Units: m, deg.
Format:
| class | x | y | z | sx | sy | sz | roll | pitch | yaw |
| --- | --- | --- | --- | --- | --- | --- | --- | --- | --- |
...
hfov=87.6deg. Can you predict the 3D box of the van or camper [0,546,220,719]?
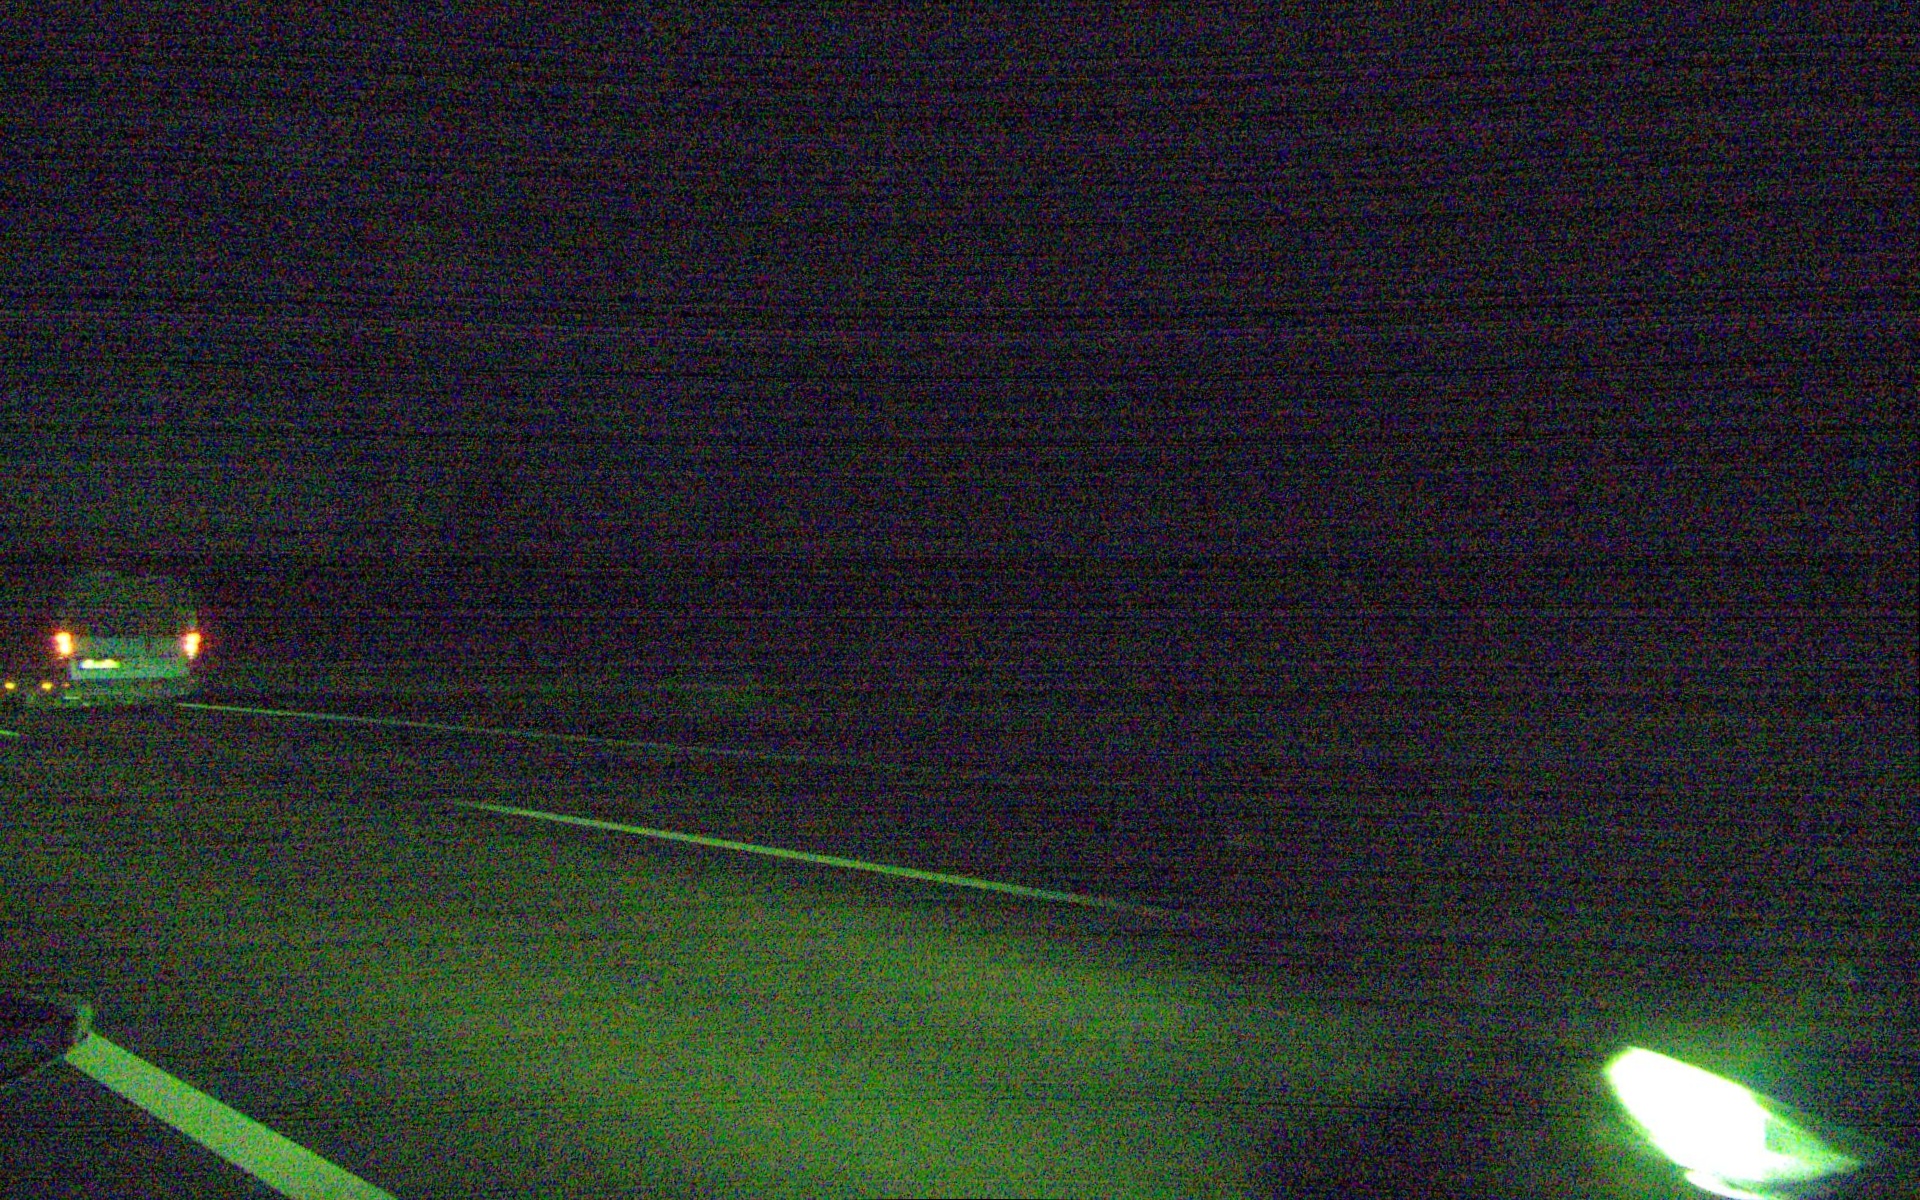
| class | x | y | z | sx | sy | sz | roll | pitch | yaw |
| --- | --- | --- | --- | --- | --- | --- | --- | --- | --- |
| van or camper | -16.850 | 0.591 | 19.017 | 6.706 | 2.807 | 2.203 | -1 | -1 | 32 |
